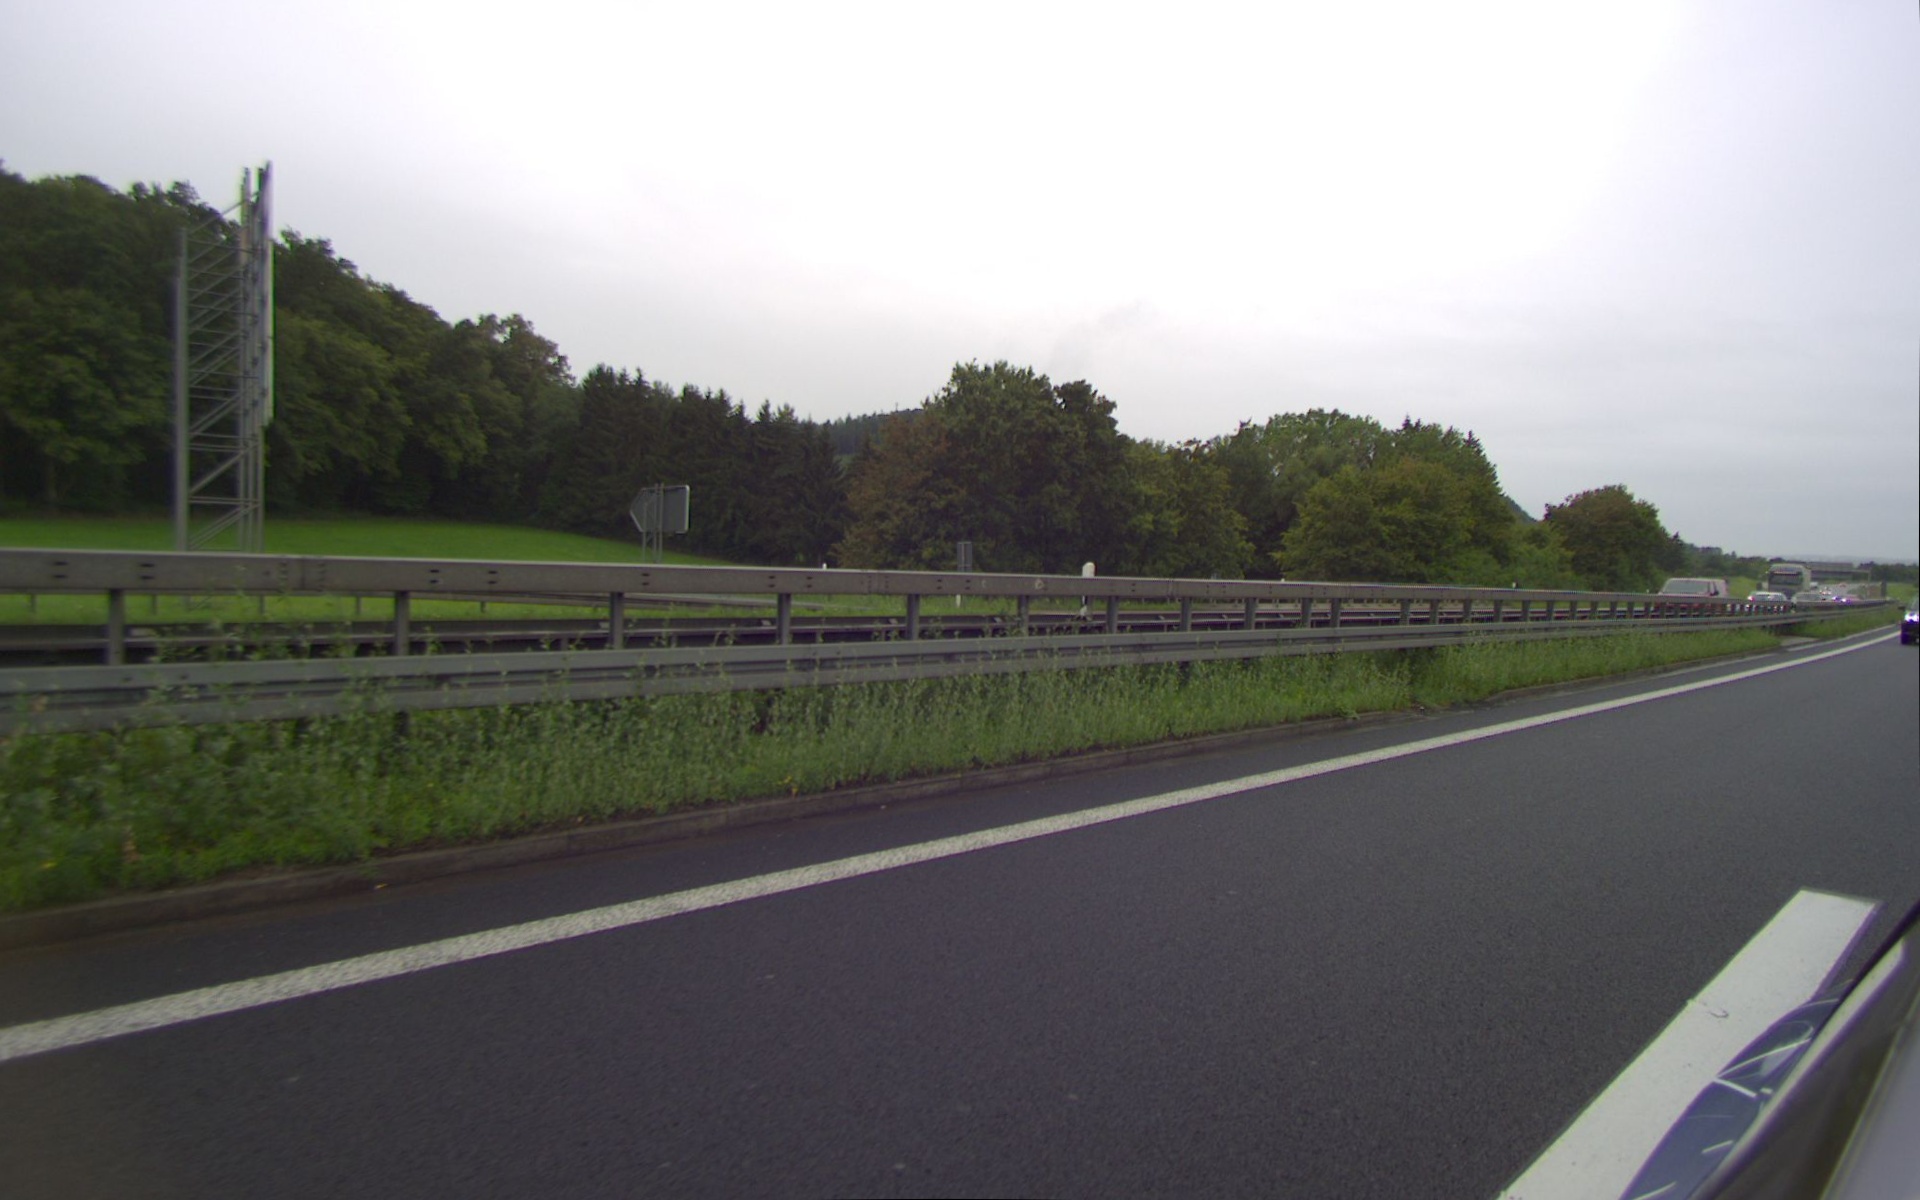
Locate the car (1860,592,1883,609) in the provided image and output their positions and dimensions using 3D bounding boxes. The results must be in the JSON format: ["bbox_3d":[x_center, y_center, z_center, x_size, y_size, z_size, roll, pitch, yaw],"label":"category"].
[{"bbox_3d":[112.391,0.050,124.770,4.425,2.038,1.749,-1,2,-44],"label":"car"}]

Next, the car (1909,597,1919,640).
[{"bbox_3d":[33.377,0.624,33.932,4.489,1.373,1.865,-1,2,-42],"label":"car"}]

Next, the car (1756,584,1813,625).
[{"bbox_3d":[43.610,0.177,53.504,4.424,2.038,1.749,-1,2,-44],"label":"car"}]

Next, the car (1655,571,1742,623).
[{"bbox_3d":[30.997,-0.166,42.429,4.994,2.038,2.126,-1,2,-45],"label":"car"}]

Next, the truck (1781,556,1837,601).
[{"bbox_3d":[78.170,-2.006,93.151,9.861,3.949,2.795,-1,2,-44],"label":"truck"}]
